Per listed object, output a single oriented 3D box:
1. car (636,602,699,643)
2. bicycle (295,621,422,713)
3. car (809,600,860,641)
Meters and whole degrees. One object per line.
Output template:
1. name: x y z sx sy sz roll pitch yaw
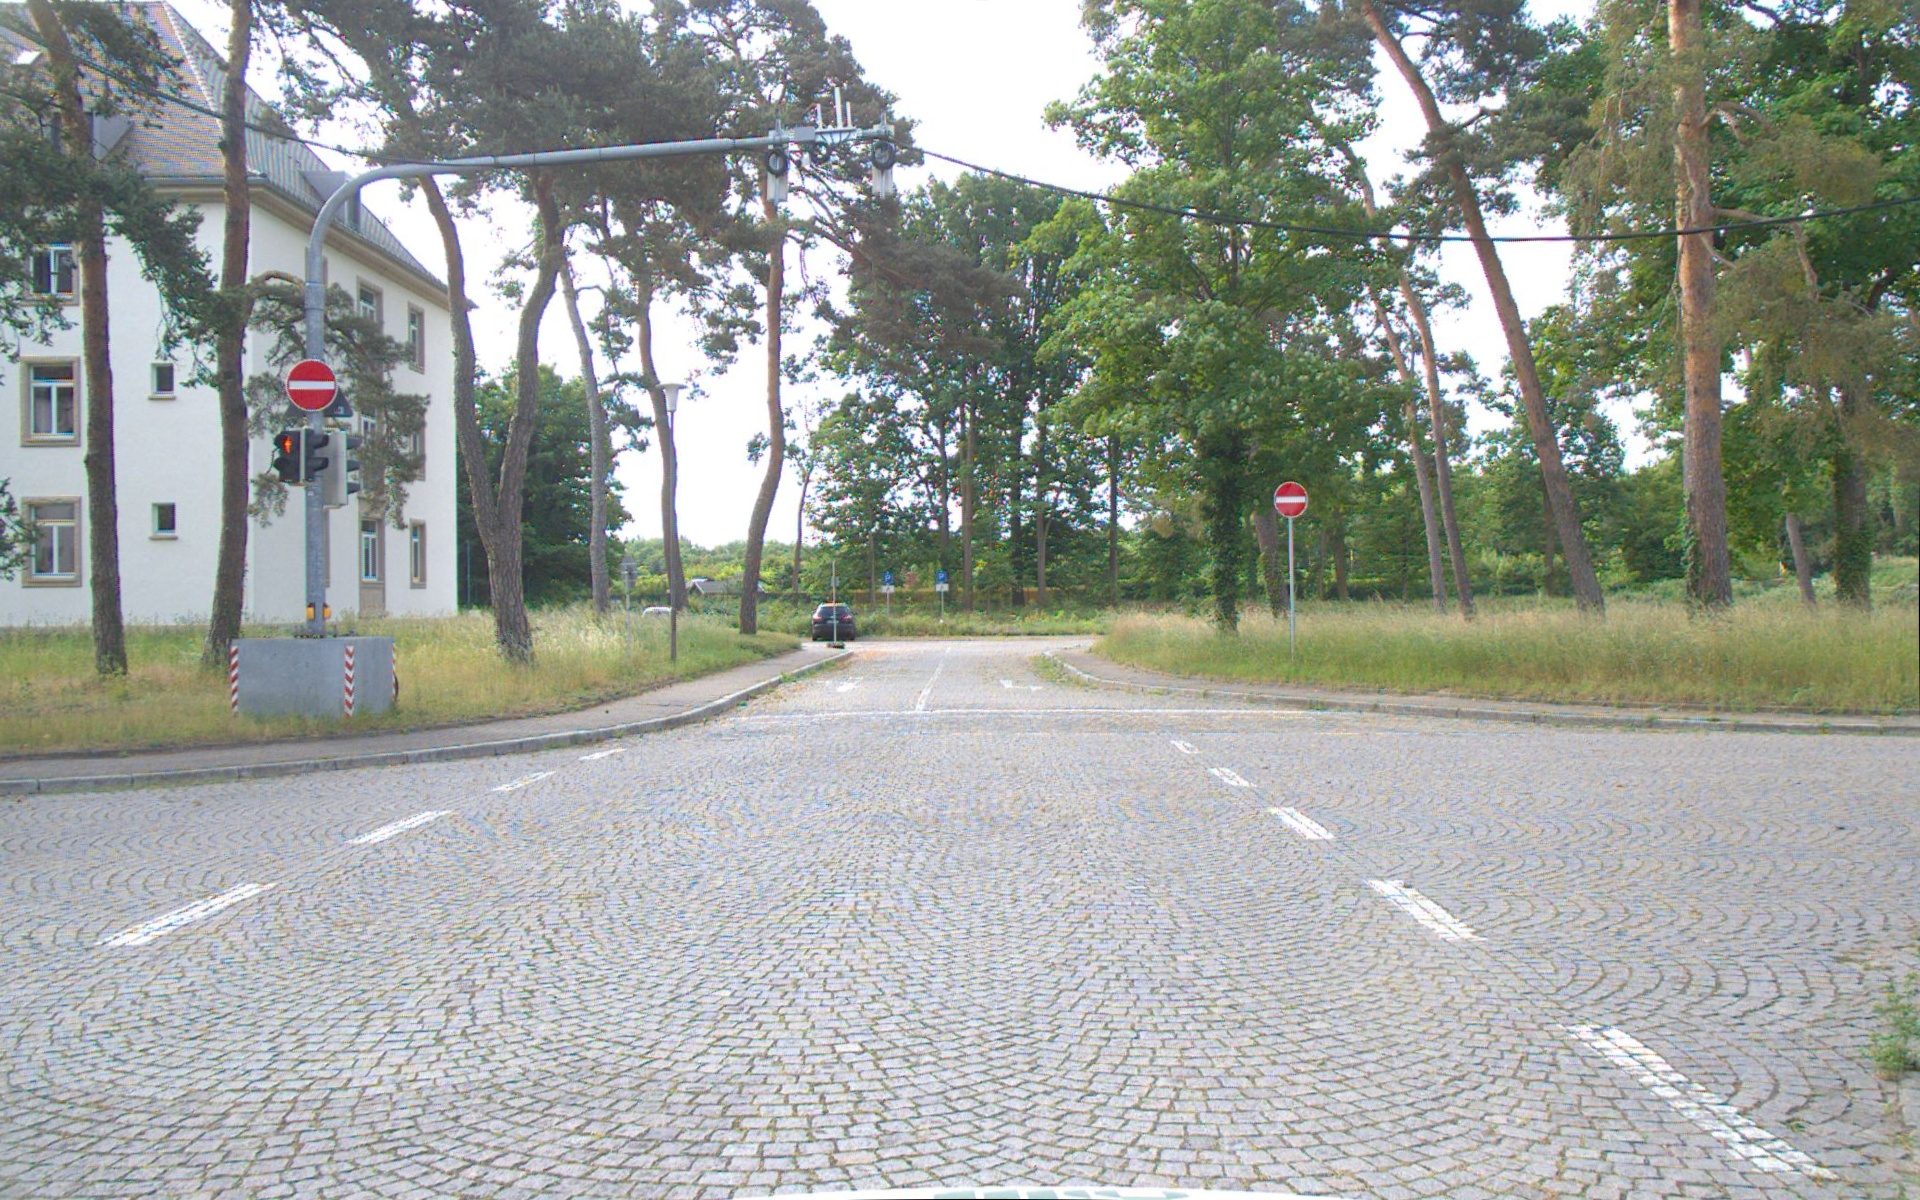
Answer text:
1. car: -12.530 0.939 71.007 1.675 1.638 4.060 1 0 4
2. bicycle: -7.489 0.825 20.632 1.384 1.093 0.497 0 2 -3
3. car: -5.308 0.837 70.333 1.675 1.638 4.059 1 0 3
